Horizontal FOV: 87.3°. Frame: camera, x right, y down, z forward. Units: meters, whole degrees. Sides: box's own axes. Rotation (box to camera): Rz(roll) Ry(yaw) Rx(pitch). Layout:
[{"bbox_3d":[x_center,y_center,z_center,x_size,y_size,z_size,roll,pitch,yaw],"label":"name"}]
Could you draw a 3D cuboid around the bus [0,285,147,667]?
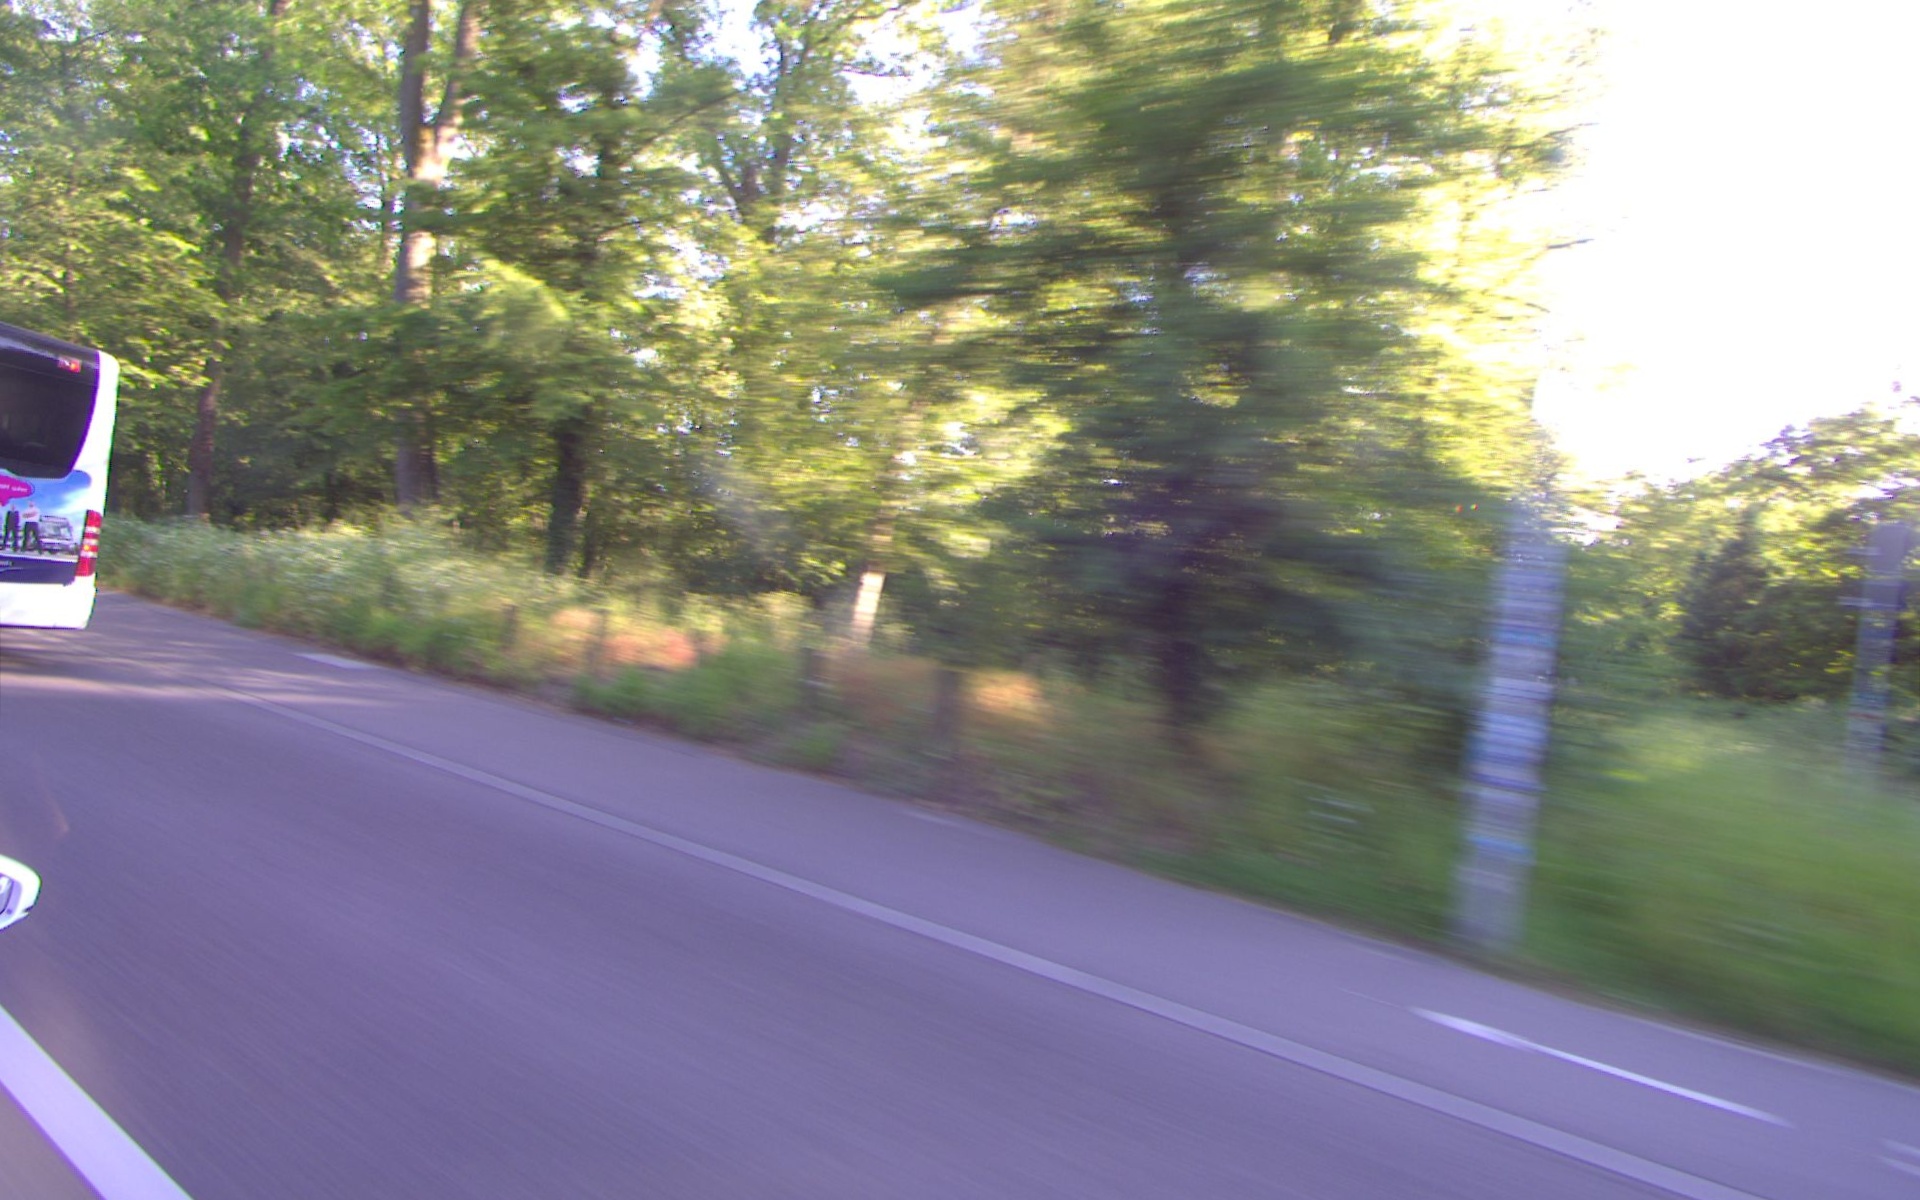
[{"bbox_3d":[-13.250,-1.602,10.705,11.834,3.078,2.696,6,-1,29],"label":"bus"}]
